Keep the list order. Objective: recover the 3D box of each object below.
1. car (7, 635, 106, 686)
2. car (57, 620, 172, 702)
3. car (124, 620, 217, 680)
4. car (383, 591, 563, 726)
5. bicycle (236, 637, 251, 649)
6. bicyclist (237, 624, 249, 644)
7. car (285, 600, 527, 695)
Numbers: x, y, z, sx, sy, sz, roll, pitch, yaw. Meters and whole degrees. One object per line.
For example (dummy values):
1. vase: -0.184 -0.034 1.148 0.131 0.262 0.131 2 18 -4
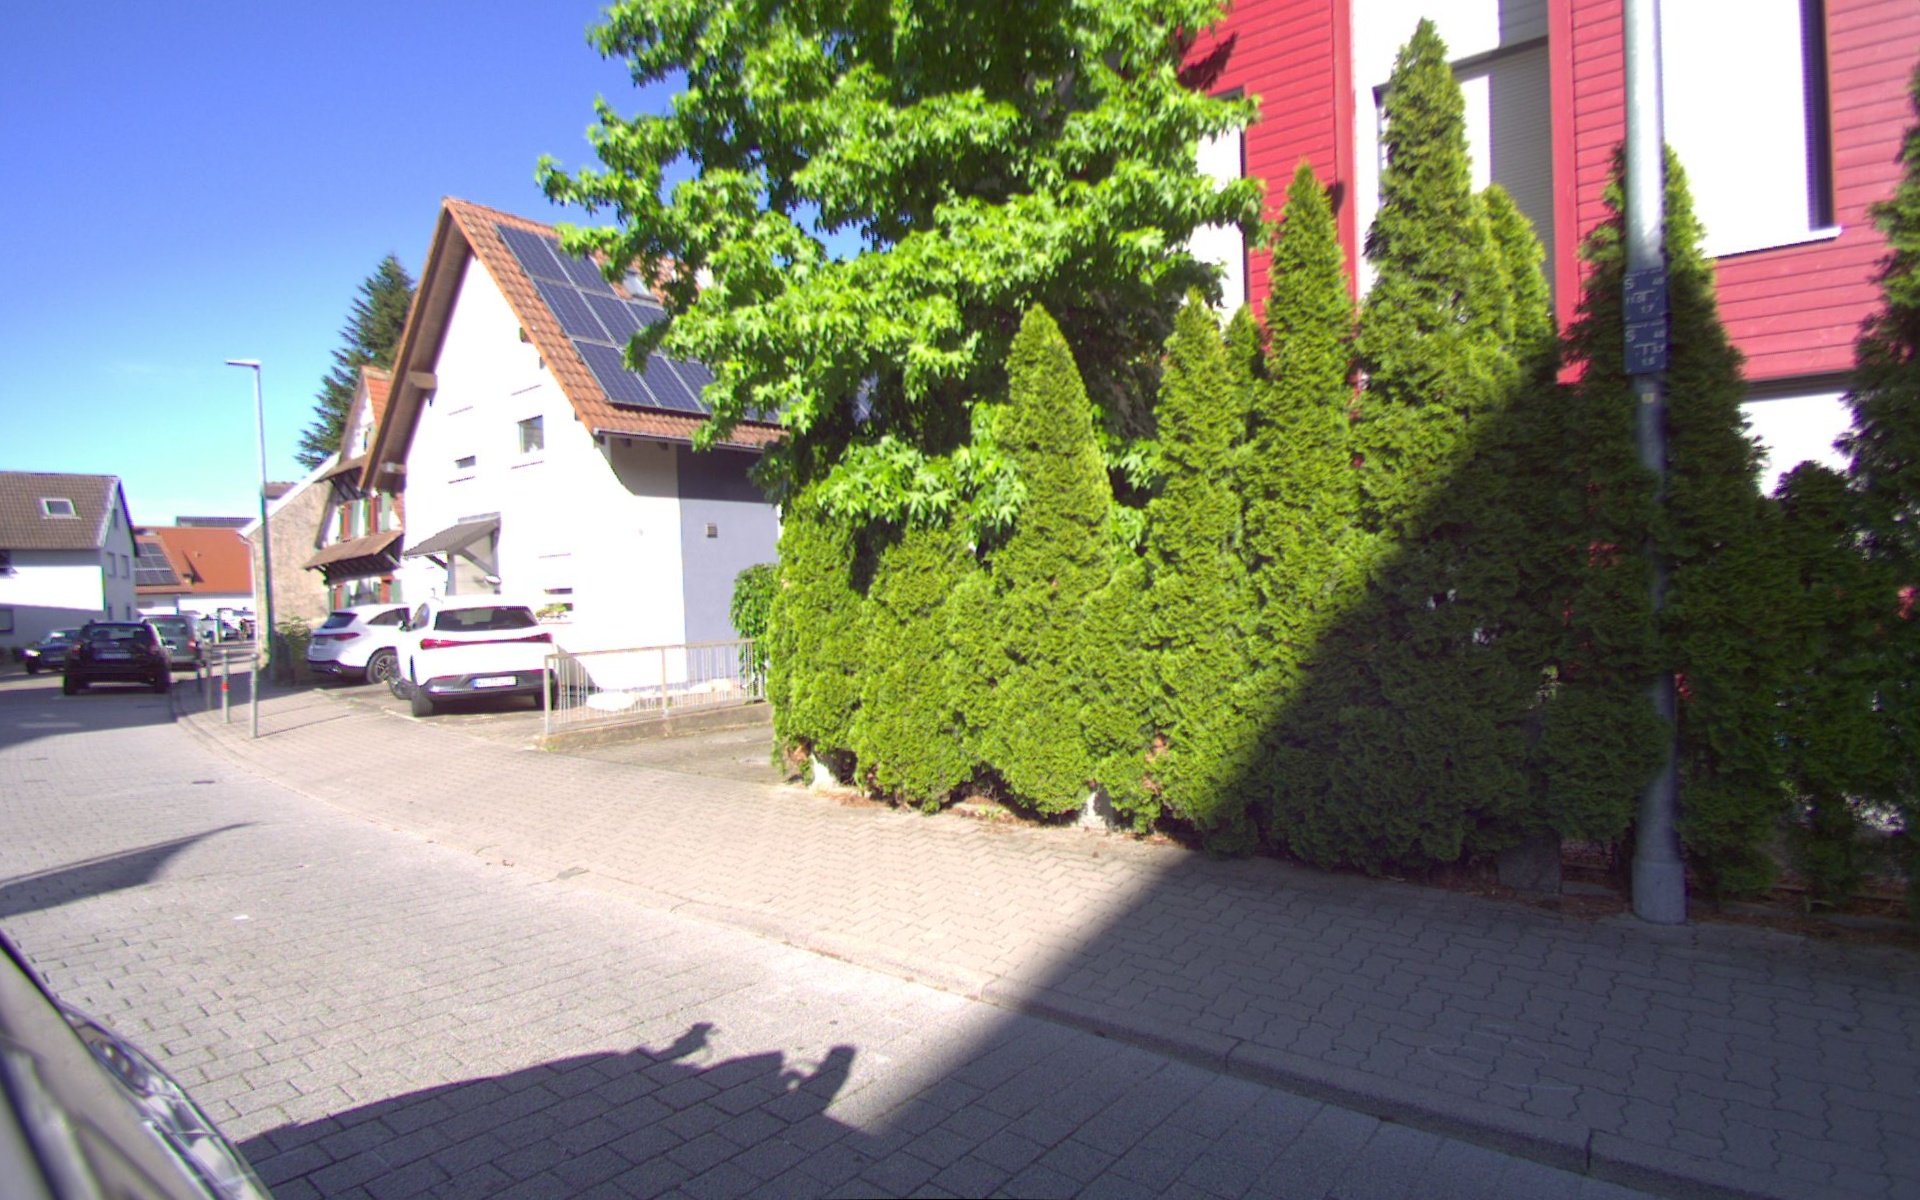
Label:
1. car: -29.807 1.931 33.500 1.778 1.489 4.356 0 -1 -33
2. car: -19.467 1.337 23.445 1.808 1.684 4.362 0 -1 -37
3. car: -25.606 1.591 32.954 1.807 1.803 4.365 1 -2 -31
4. car: -7.380 0.761 15.083 1.793 1.607 4.457 -3 1 -33
5. bicycle: -48.254 2.883 68.143 0.573 0.767 1.805 0 -1 -27
6. bicyclist: -48.287 2.282 68.146 0.573 1.330 0.610 0 -1 -27
7. car: -11.555 0.933 21.313 1.998 1.601 3.949 -3 1 39
